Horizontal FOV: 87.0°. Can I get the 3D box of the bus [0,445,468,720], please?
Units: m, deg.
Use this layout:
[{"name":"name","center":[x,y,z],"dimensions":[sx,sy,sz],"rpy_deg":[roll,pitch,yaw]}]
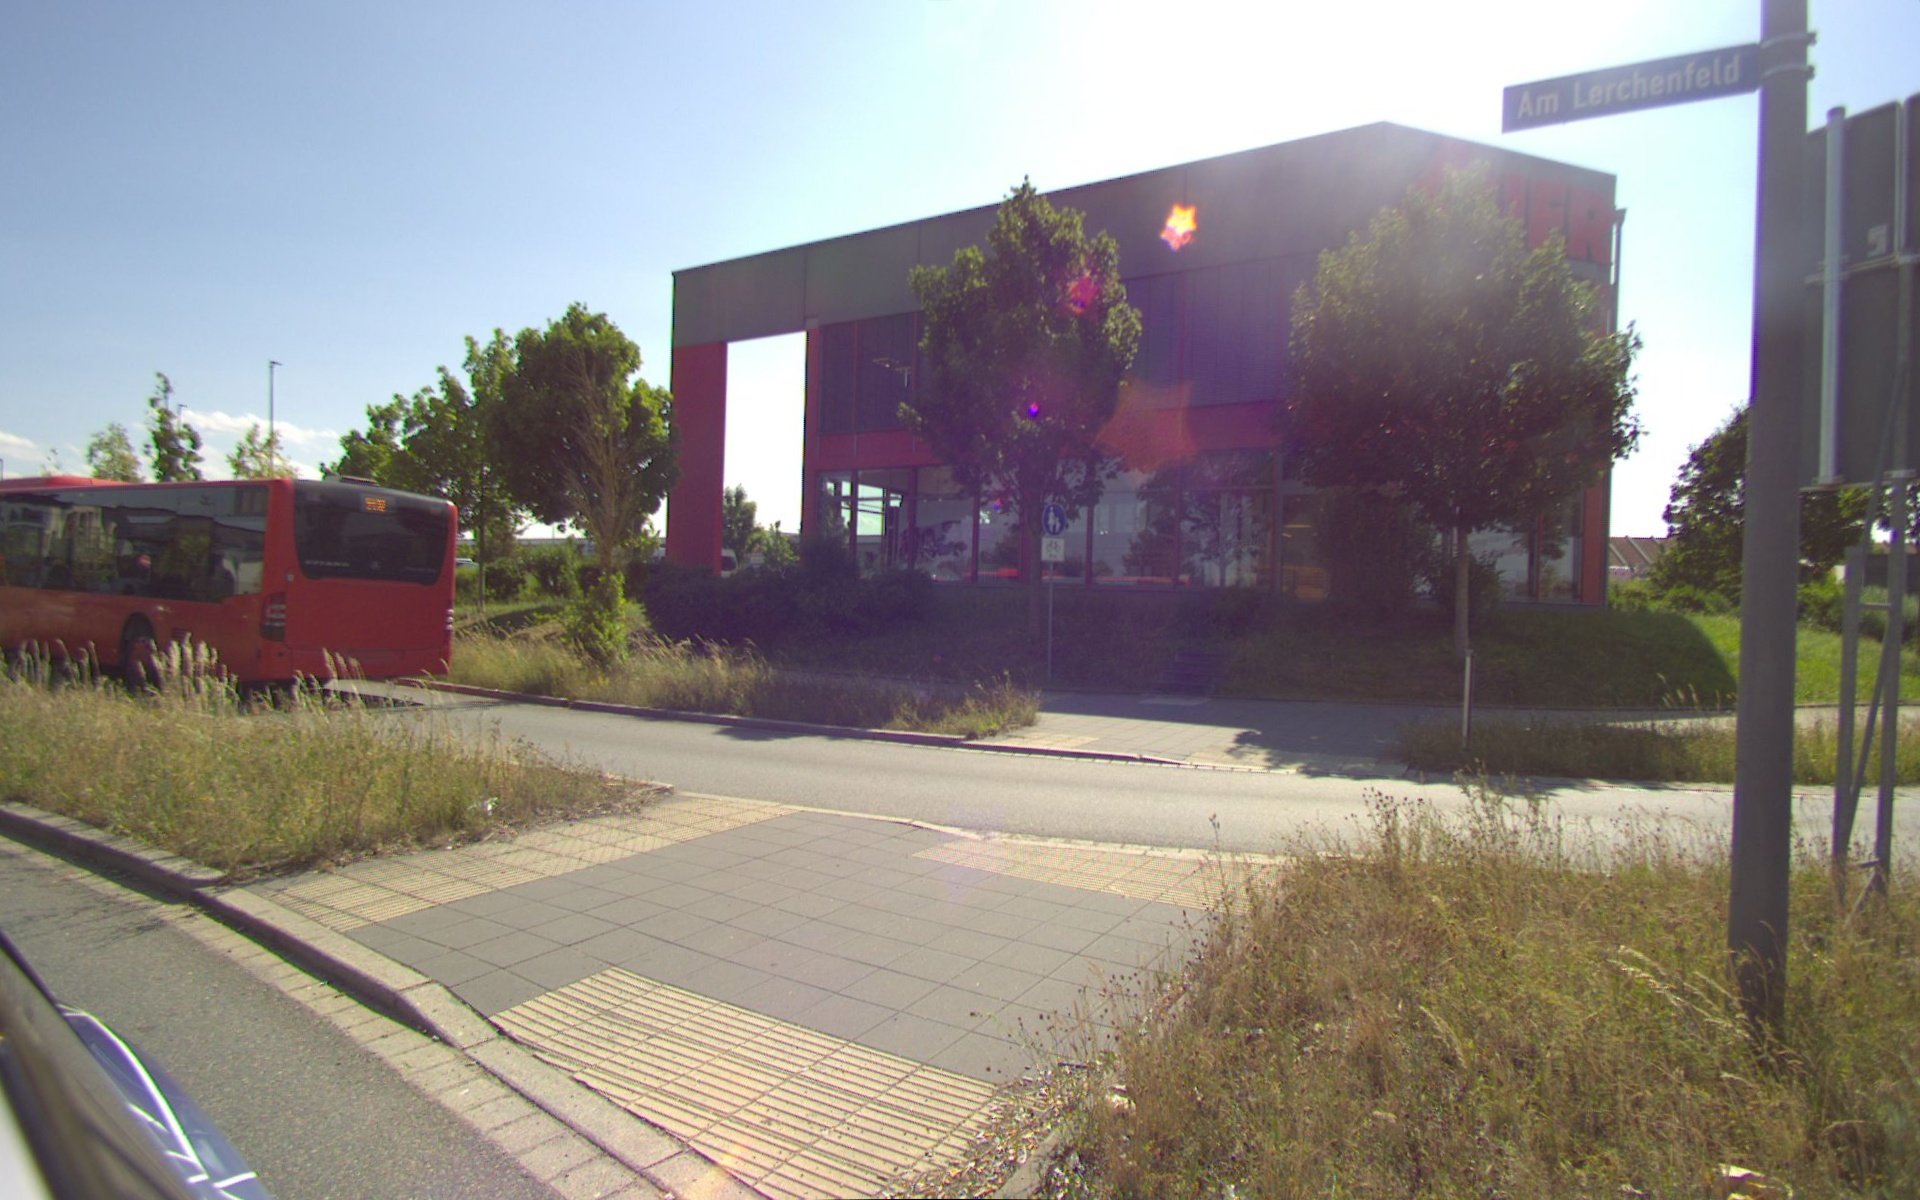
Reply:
[{"name":"bus","center":[-12.758,-0.382,16.061],"dimensions":[11.832,3.266,2.591],"rpy_deg":[2,0,30]}]
